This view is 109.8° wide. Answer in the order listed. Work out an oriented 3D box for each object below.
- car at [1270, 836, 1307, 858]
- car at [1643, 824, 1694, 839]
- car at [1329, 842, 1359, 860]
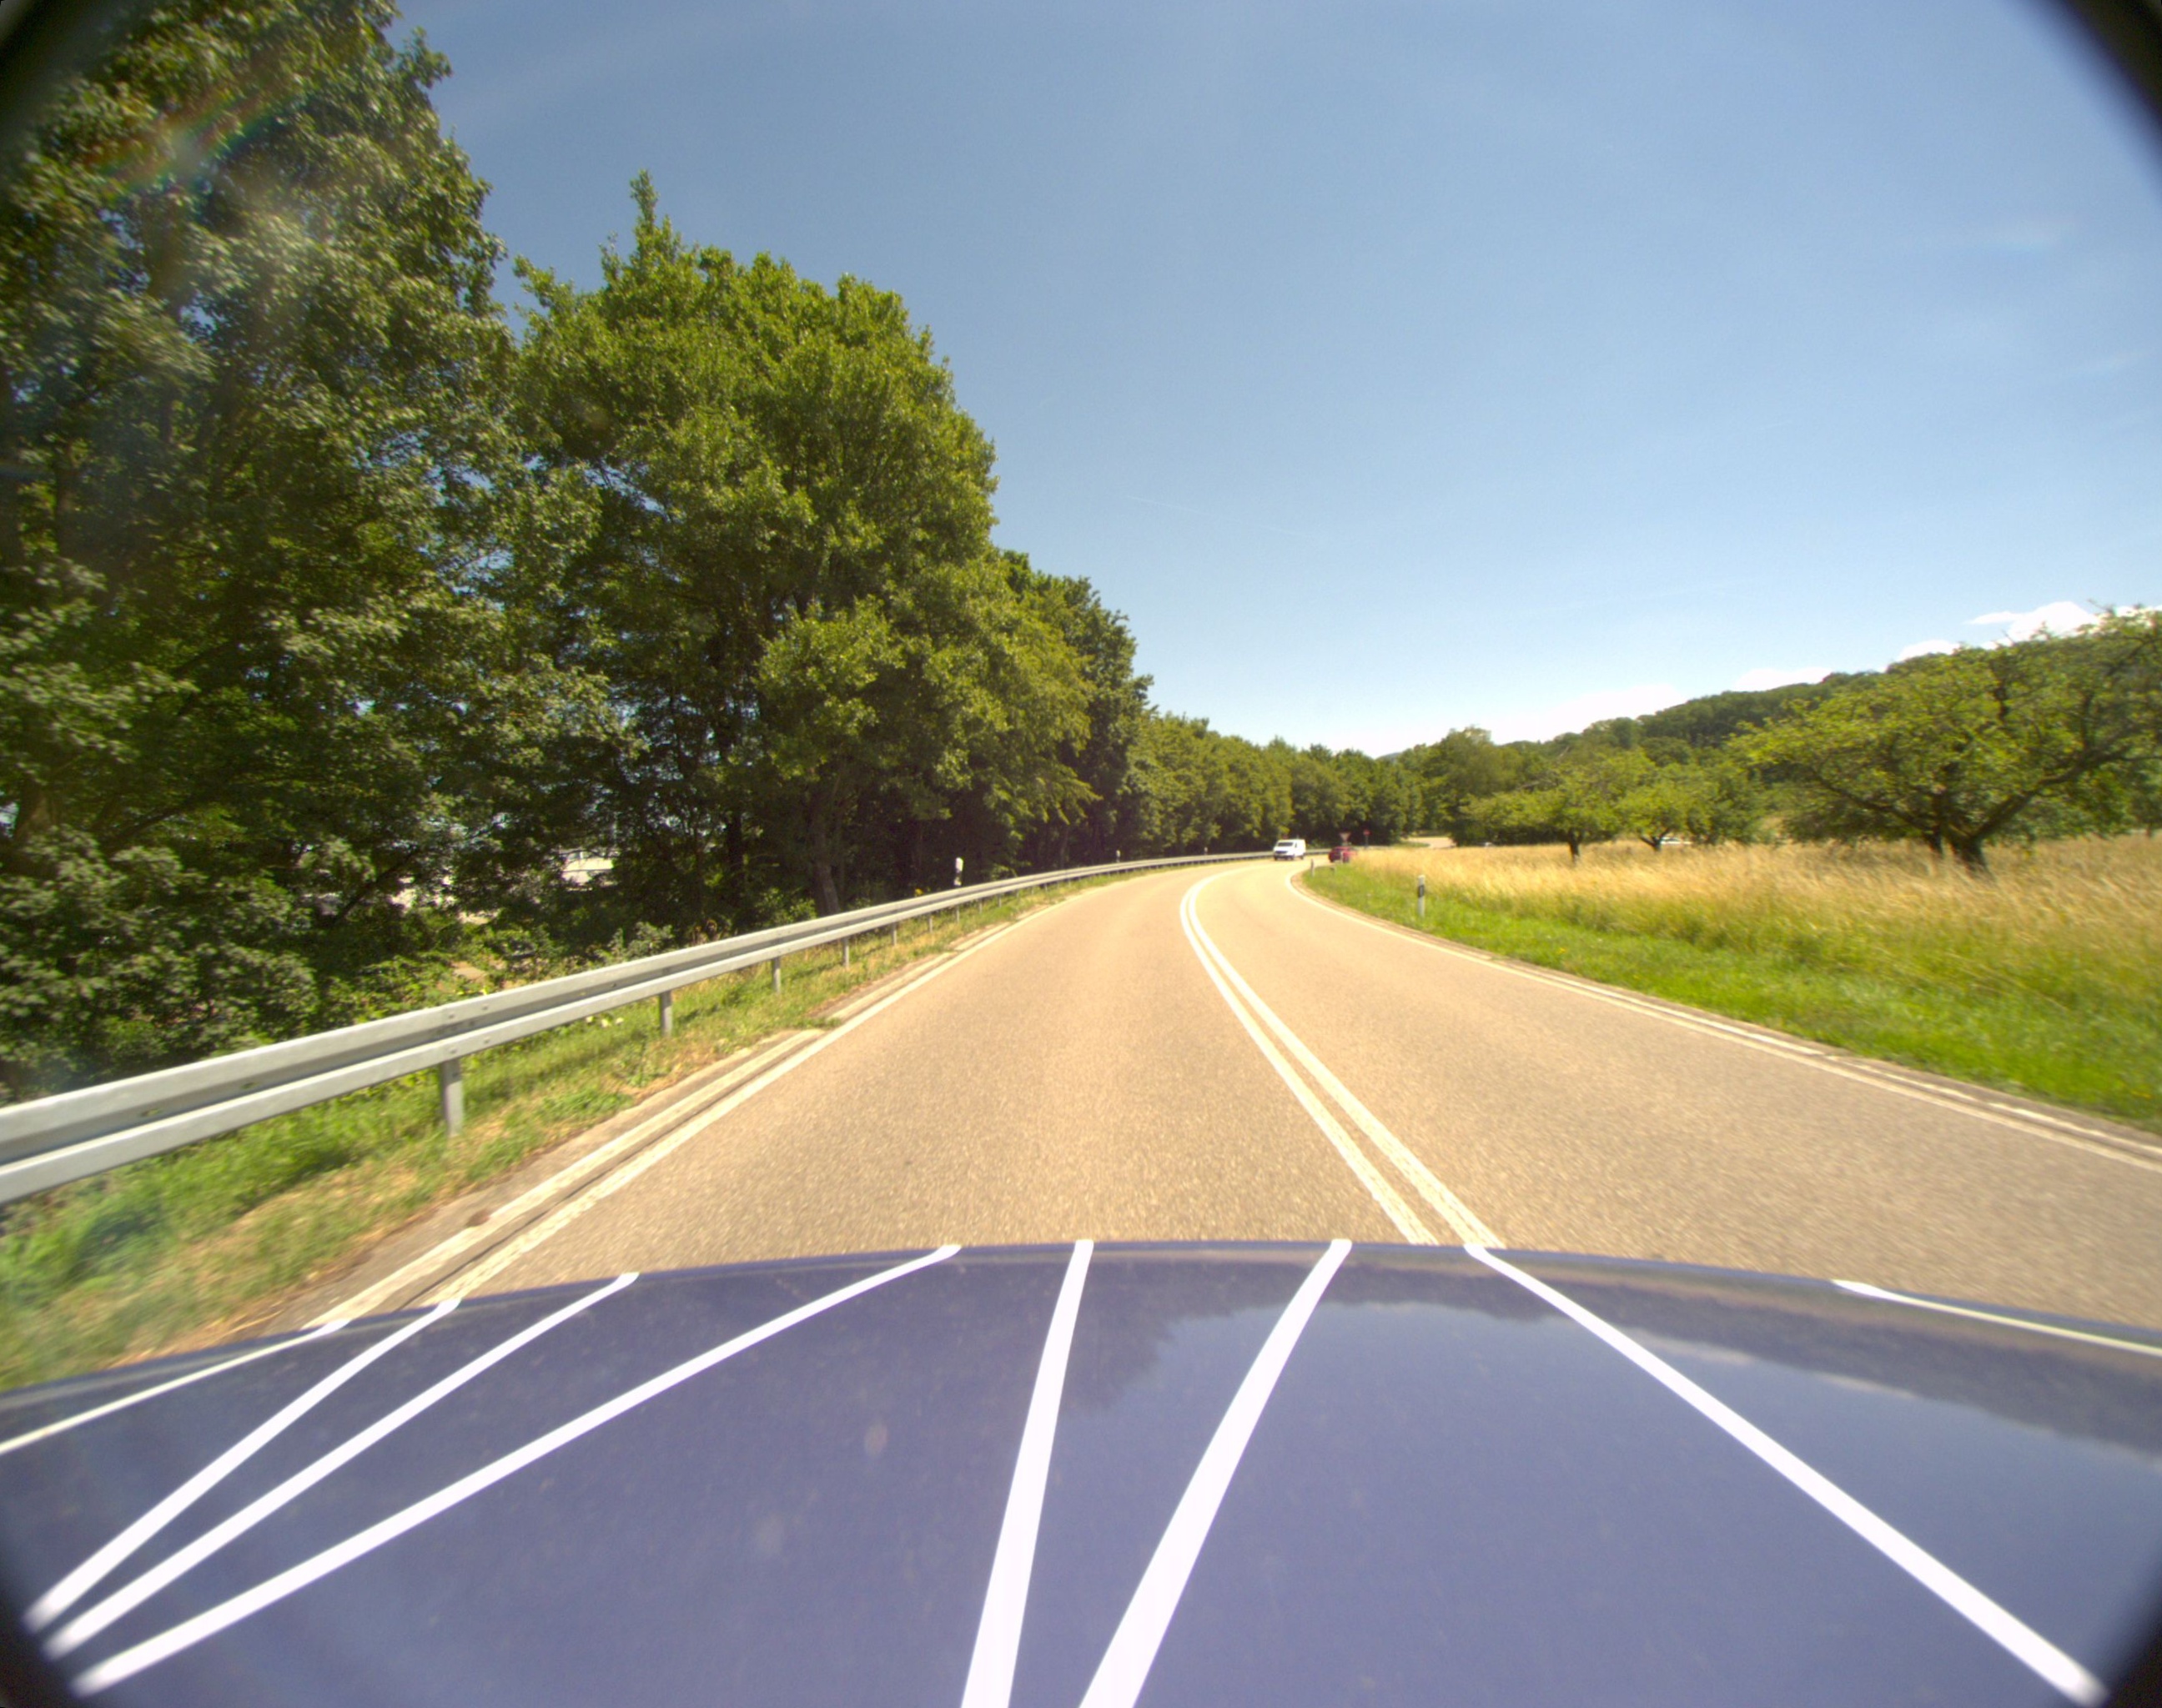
[{"bbox_3d":[20.554,-0.676,75.062,2.220,2.021,5.436,-2,1,29],"label":"car"},{"bbox_3d":[66.899,-2.591,86.560,4.213,1.582,1.827,2,3,2],"label":"car"},{"bbox_3d":[24.329,-0.325,70.188,1.823,1.450,4.407,3,4,29],"label":"car"}]
